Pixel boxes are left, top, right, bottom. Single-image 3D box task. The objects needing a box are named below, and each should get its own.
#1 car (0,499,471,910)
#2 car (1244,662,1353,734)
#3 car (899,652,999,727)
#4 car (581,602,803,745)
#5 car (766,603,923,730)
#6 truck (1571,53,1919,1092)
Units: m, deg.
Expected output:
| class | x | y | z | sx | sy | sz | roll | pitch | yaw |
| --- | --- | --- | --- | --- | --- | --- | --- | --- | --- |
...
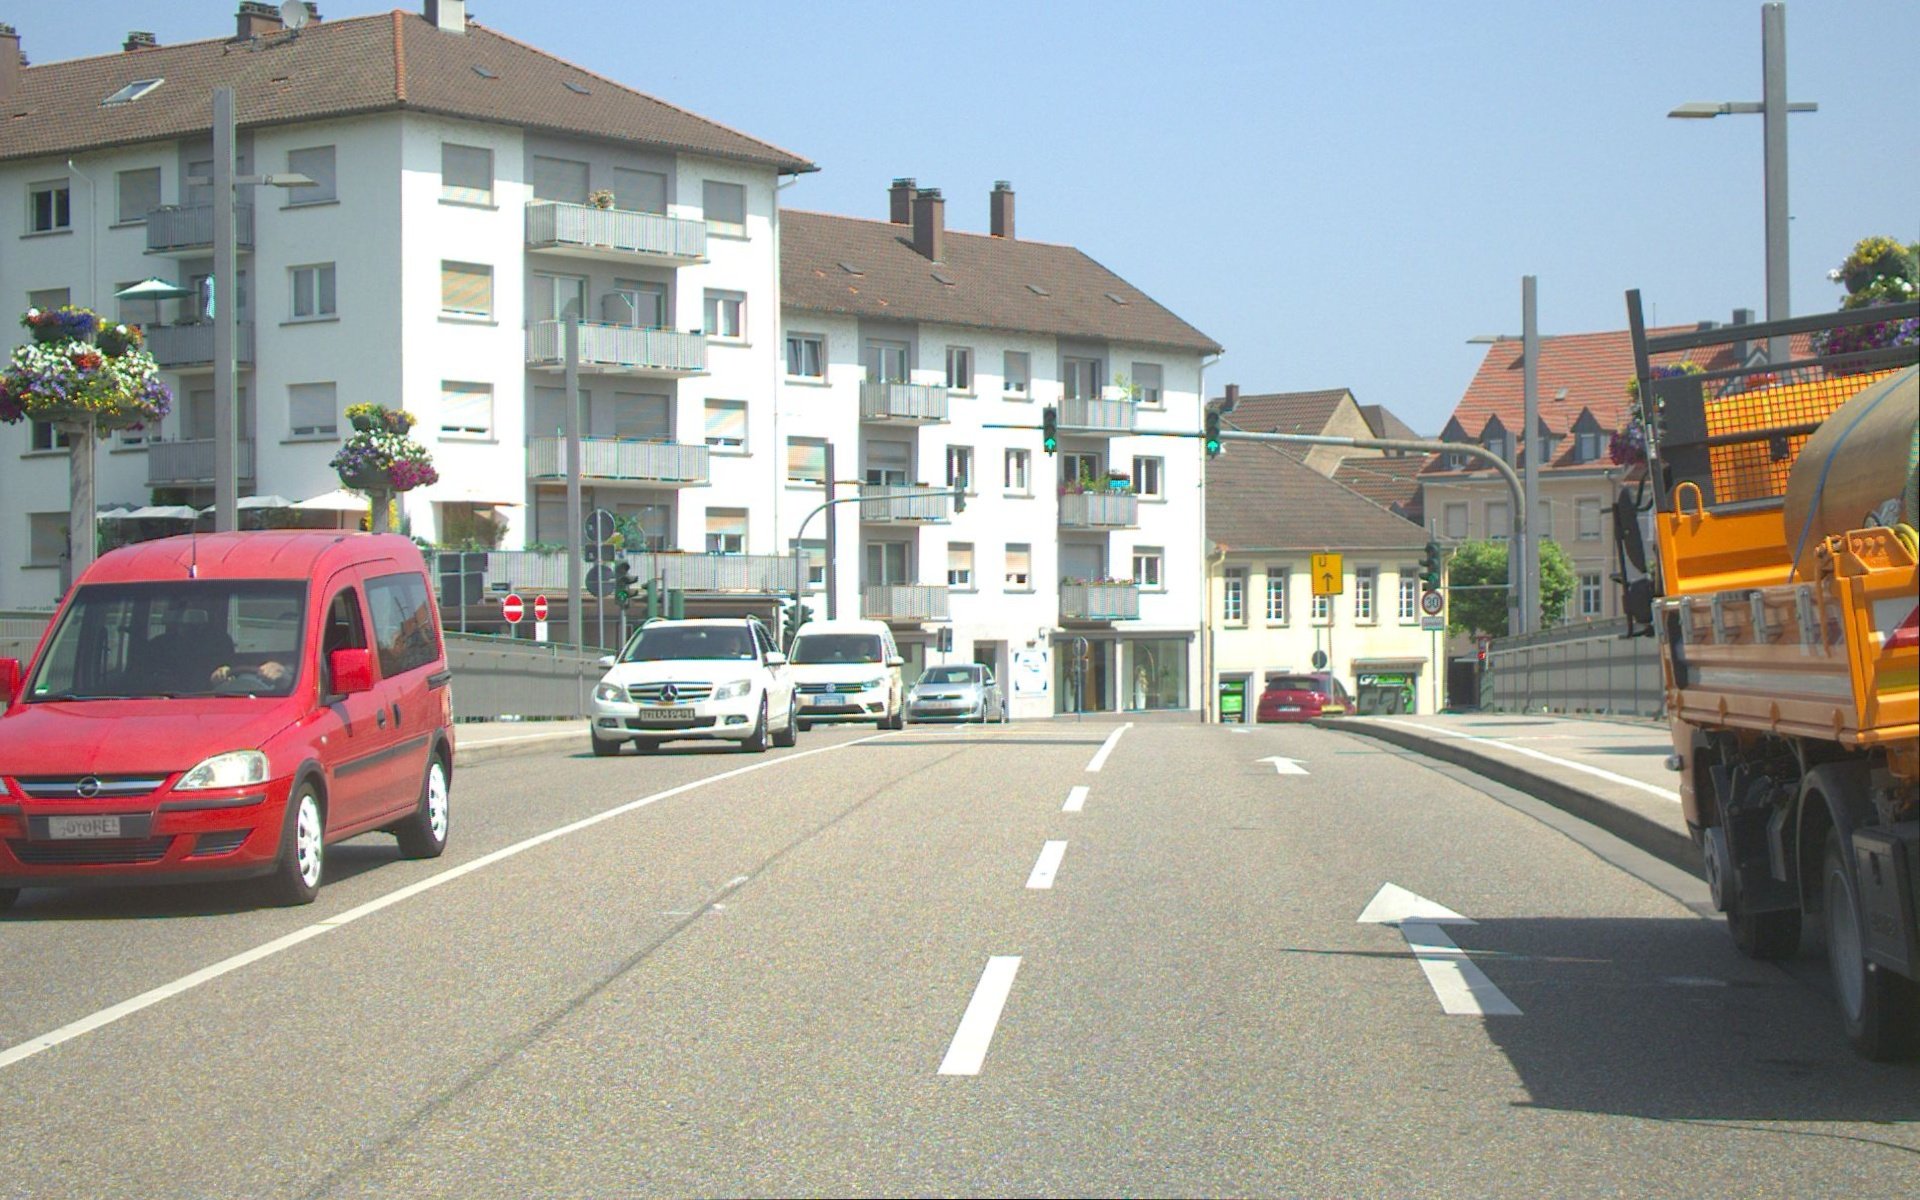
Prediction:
| class | x | y | z | sx | sy | sz | roll | pitch | yaw |
| --- | --- | --- | --- | --- | --- | --- | --- | --- | --- |
| car | -3.738 | 0.496 | 17.387 | 1.736 | 1.771 | 4.176 | -3 | -1 | 2 |
| car | 8.240 | 2.369 | 83.441 | 1.991 | 1.607 | 4.339 | -1 | 0 | 14 |
| car | -0.203 | 1.899 | 73.611 | 1.760 | 1.514 | 3.999 | -2 | -1 | 5 |
| car | -2.803 | 0.805 | 36.908 | 1.844 | 1.427 | 4.713 | 0 | -2 | 2 |
| car | -1.810 | 1.091 | 55.308 | 1.759 | 1.851 | 4.645 | -4 | -2 | 6 |
| truck | 3.731 | -0.090 | 11.705 | 2.606 | 2.682 | 5.822 | 0 | 0 | 4 |
